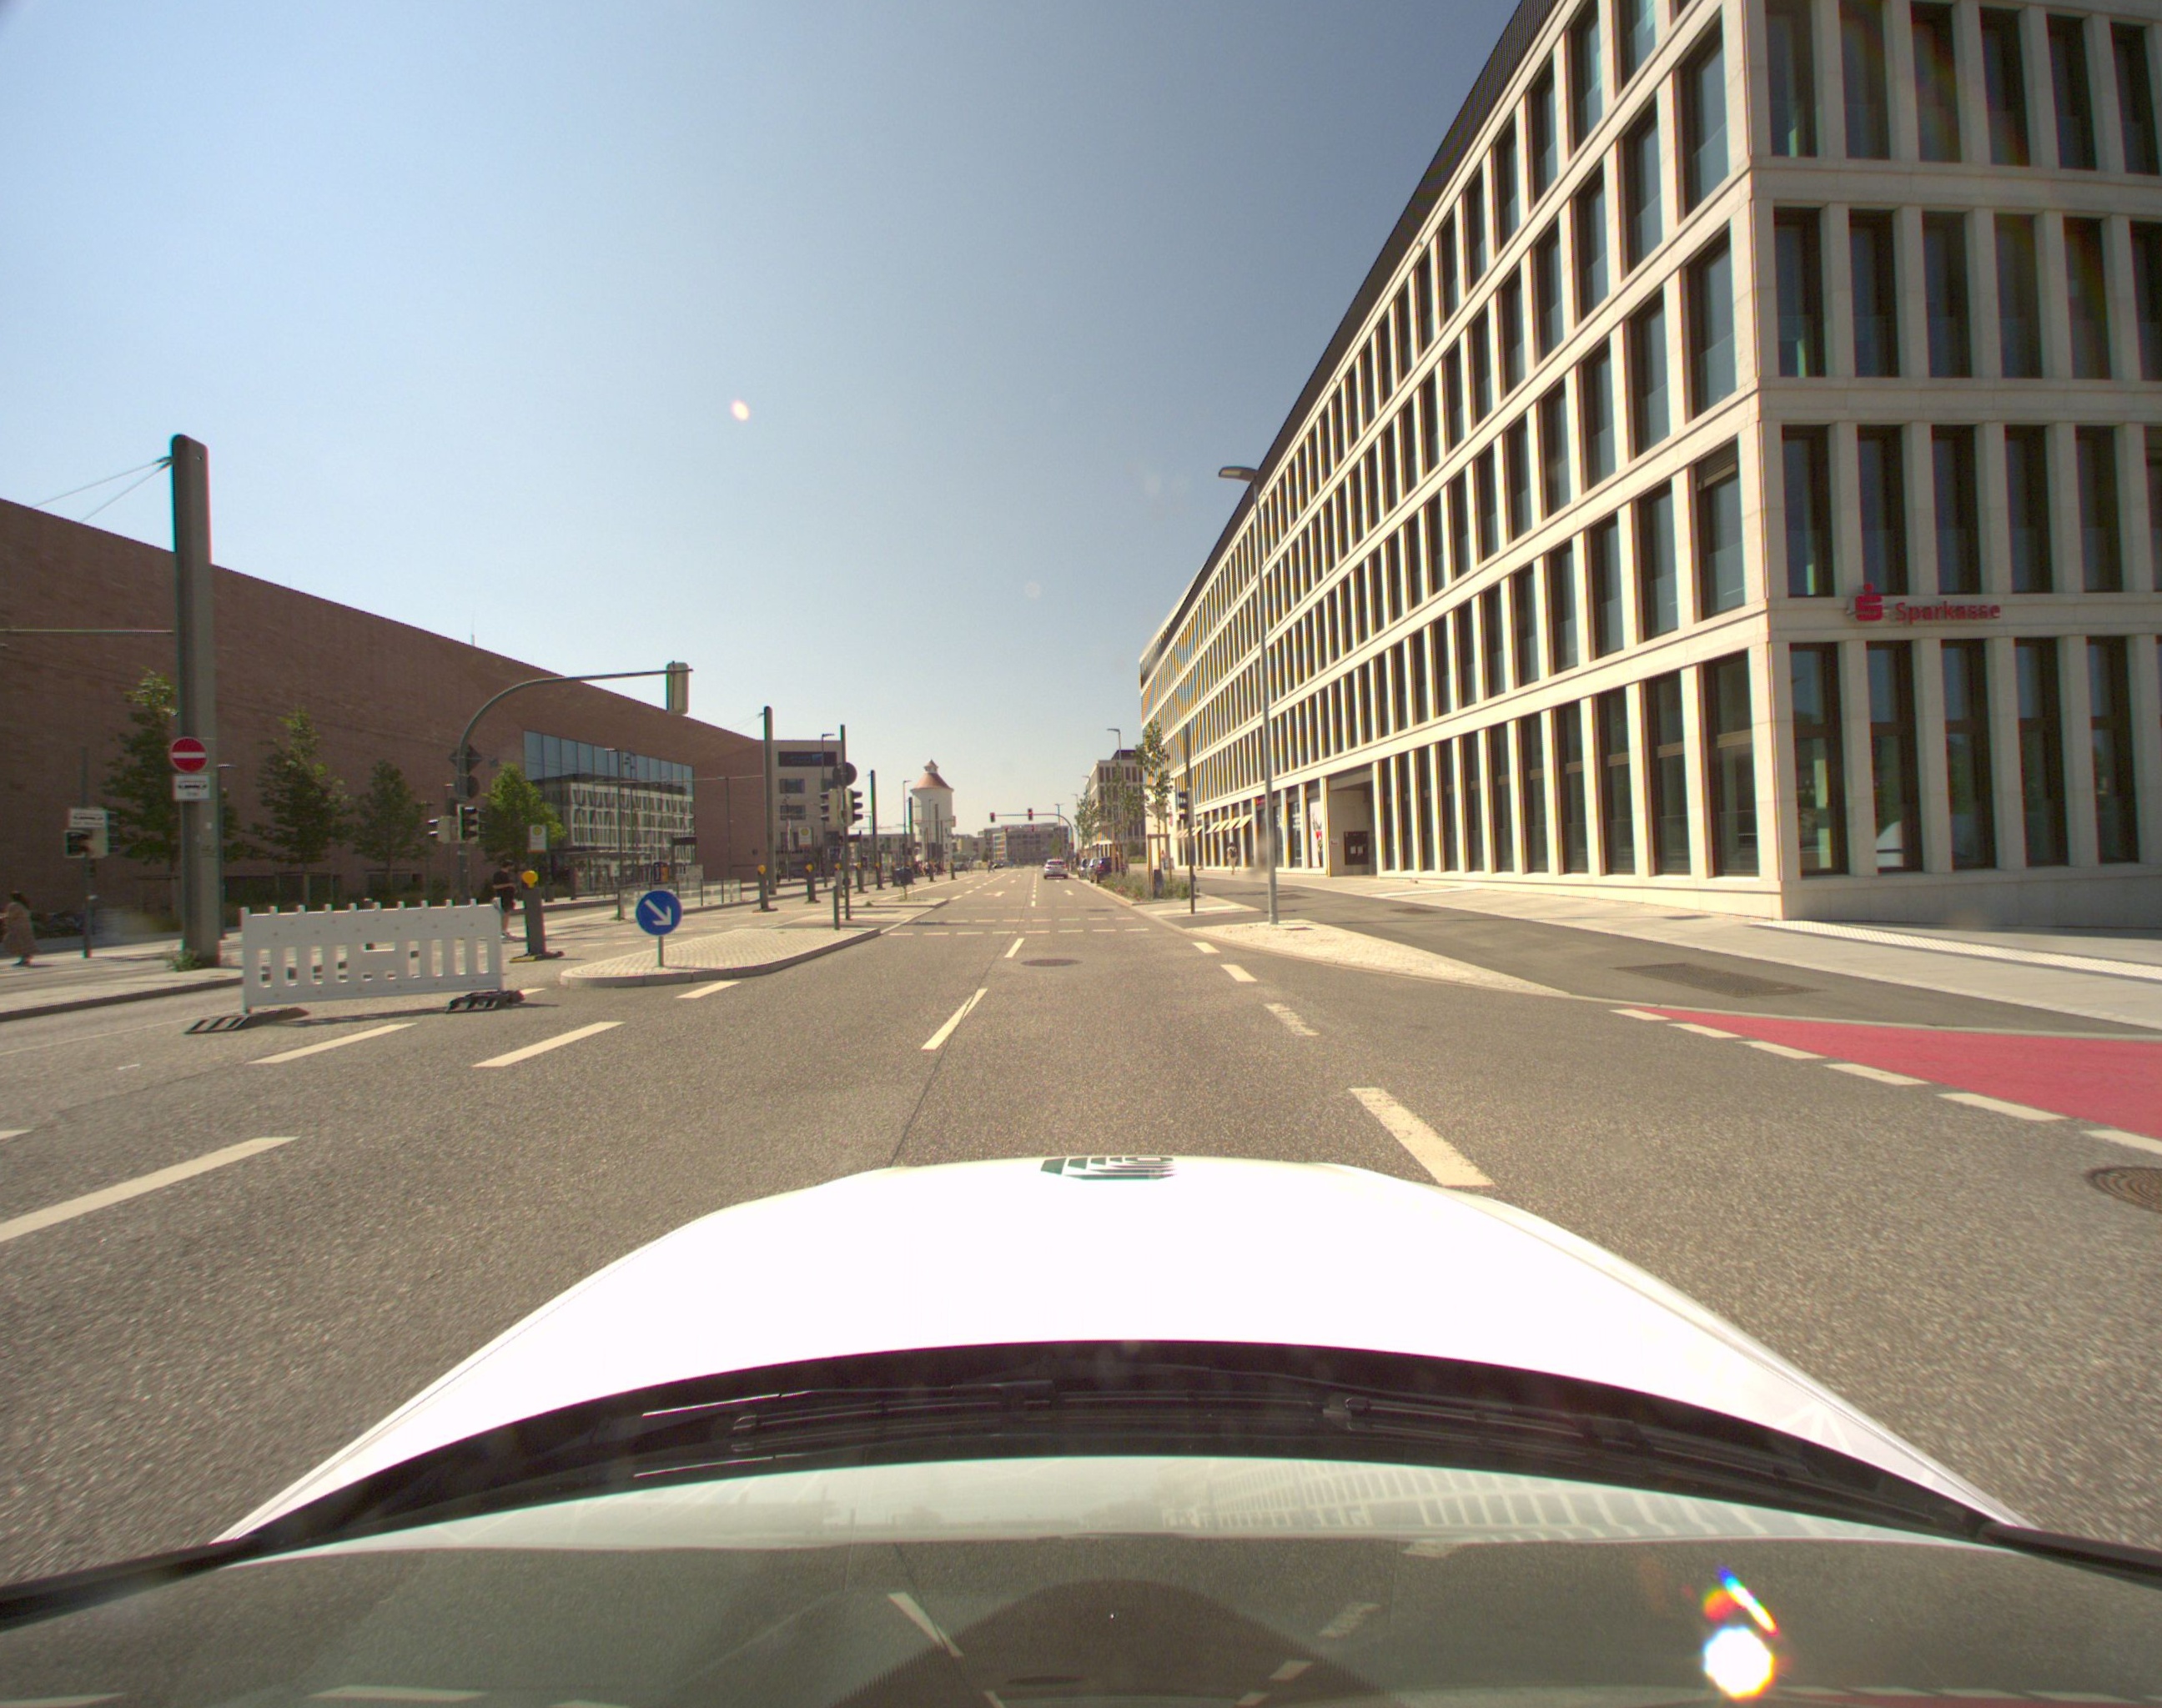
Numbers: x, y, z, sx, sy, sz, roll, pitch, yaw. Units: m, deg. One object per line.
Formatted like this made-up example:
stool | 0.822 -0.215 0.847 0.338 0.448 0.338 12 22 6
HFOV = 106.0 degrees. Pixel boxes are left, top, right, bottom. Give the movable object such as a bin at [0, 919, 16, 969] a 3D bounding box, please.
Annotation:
movable object such as a bin | -23.318 1.935 17.179 0.716 1.032 0.787 -1 0 -24

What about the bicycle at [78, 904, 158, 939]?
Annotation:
bicycle | -37.086 2.600 31.379 2.054 1.212 0.537 -1 0 -14

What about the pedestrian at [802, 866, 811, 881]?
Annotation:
pedestrian | -30.824 2.183 91.508 0.709 1.572 0.889 -2 -1 -4

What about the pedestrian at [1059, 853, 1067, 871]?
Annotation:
pedestrian | -1.844 0.836 85.174 0.727 1.890 0.821 -2 -1 3

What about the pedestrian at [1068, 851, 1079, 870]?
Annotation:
pedestrian | -0.753 0.665 83.772 1.012 1.890 0.796 -2 -1 -6

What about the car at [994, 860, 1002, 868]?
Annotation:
car | -17.543 2.114 172.105 1.584 1.530 3.687 -1 -1 -4

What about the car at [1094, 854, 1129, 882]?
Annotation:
car | 1.695 0.785 46.437 1.731 1.474 3.978 -1 -1 -1

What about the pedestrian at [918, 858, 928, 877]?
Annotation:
pedestrian | -16.407 1.390 84.506 0.887 1.890 0.690 -2 -1 -8

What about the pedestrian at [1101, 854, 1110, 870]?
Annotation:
pedestrian | 2.569 0.851 86.195 0.761 1.620 0.694 -2 -1 13

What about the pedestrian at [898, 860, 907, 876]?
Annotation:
pedestrian | -18.465 1.453 84.390 0.631 1.618 0.768 -2 -1 2

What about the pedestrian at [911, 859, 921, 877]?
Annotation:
pedestrian | -17.259 1.440 85.162 0.887 1.890 0.690 -2 -1 -8

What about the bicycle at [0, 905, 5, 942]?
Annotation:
bicycle | -36.584 2.314 26.494 1.884 1.212 0.744 -1 -1 -10

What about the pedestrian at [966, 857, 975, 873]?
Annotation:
pedestrian | -12.129 1.249 89.406 0.764 1.734 0.691 -2 -1 -2

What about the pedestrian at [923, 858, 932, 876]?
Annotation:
pedestrian | -16.314 1.414 86.437 0.764 1.890 0.691 -2 -1 -2

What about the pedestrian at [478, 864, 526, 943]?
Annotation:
pedestrian | -13.724 1.152 19.317 0.650 1.833 0.661 -1 0 1

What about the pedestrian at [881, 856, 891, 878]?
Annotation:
pedestrian | -16.418 1.107 68.509 0.666 1.820 0.717 0 -1 -26

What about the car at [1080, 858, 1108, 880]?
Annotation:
car | 0.841 0.990 54.405 1.601 1.388 3.810 -2 0 -3

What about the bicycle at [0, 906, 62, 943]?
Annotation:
bicycle | -36.731 2.441 28.080 2.054 1.212 0.537 -1 0 -14

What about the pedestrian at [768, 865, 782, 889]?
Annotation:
pedestrian | -23.887 1.765 63.599 0.809 1.820 0.824 -1 -1 -3

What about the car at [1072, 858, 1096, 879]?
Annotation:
car | 0.205 1.053 61.798 1.552 1.472 3.466 -2 0 -3

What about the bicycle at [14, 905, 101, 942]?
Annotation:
bicycle | -37.688 2.561 30.015 2.054 1.212 0.537 -1 0 -14

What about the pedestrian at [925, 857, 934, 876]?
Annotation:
pedestrian | -15.547 1.307 83.576 0.887 1.890 0.690 -2 -1 -8

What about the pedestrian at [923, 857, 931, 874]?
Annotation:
pedestrian | -16.916 1.230 89.269 0.731 1.890 0.714 0 -1 1

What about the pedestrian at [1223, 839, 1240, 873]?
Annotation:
pedestrian | 8.092 0.107 43.767 0.626 1.742 0.813 -2 0 -3

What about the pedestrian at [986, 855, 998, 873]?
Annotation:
pedestrian | -10.162 1.092 92.972 1.024 2.013 0.947 -2 -1 -22

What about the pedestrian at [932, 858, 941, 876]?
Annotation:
pedestrian | -15.702 1.371 88.562 0.839 1.890 0.691 -2 -1 -3

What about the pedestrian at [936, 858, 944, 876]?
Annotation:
pedestrian | -15.169 1.384 87.712 0.764 1.890 0.691 -2 -1 -2

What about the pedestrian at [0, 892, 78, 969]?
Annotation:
pedestrian | -22.554 1.624 17.520 0.934 1.562 0.787 -1 0 -24

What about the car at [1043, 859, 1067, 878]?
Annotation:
car | -1.913 1.118 61.231 1.766 1.395 3.529 -1 -2 -1

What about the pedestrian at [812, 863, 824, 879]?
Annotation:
pedestrian | -32.634 2.067 101.001 0.881 1.890 0.988 -2 -1 17

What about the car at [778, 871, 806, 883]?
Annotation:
car | -44.436 3.525 125.351 3.948 1.816 1.789 -1 -1 -15

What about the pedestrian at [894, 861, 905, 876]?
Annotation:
pedestrian | -19.614 1.587 88.142 0.907 1.637 0.814 -2 -1 1

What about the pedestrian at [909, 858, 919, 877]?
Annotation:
pedestrian | -17.008 1.375 83.172 0.887 1.890 0.690 -2 -1 -8

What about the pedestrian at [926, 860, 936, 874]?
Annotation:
pedestrian | -17.257 1.509 93.879 0.885 1.647 0.796 -2 -1 1

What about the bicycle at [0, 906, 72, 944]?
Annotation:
bicycle | -37.351 2.525 28.881 2.054 1.212 0.537 -1 0 -14
